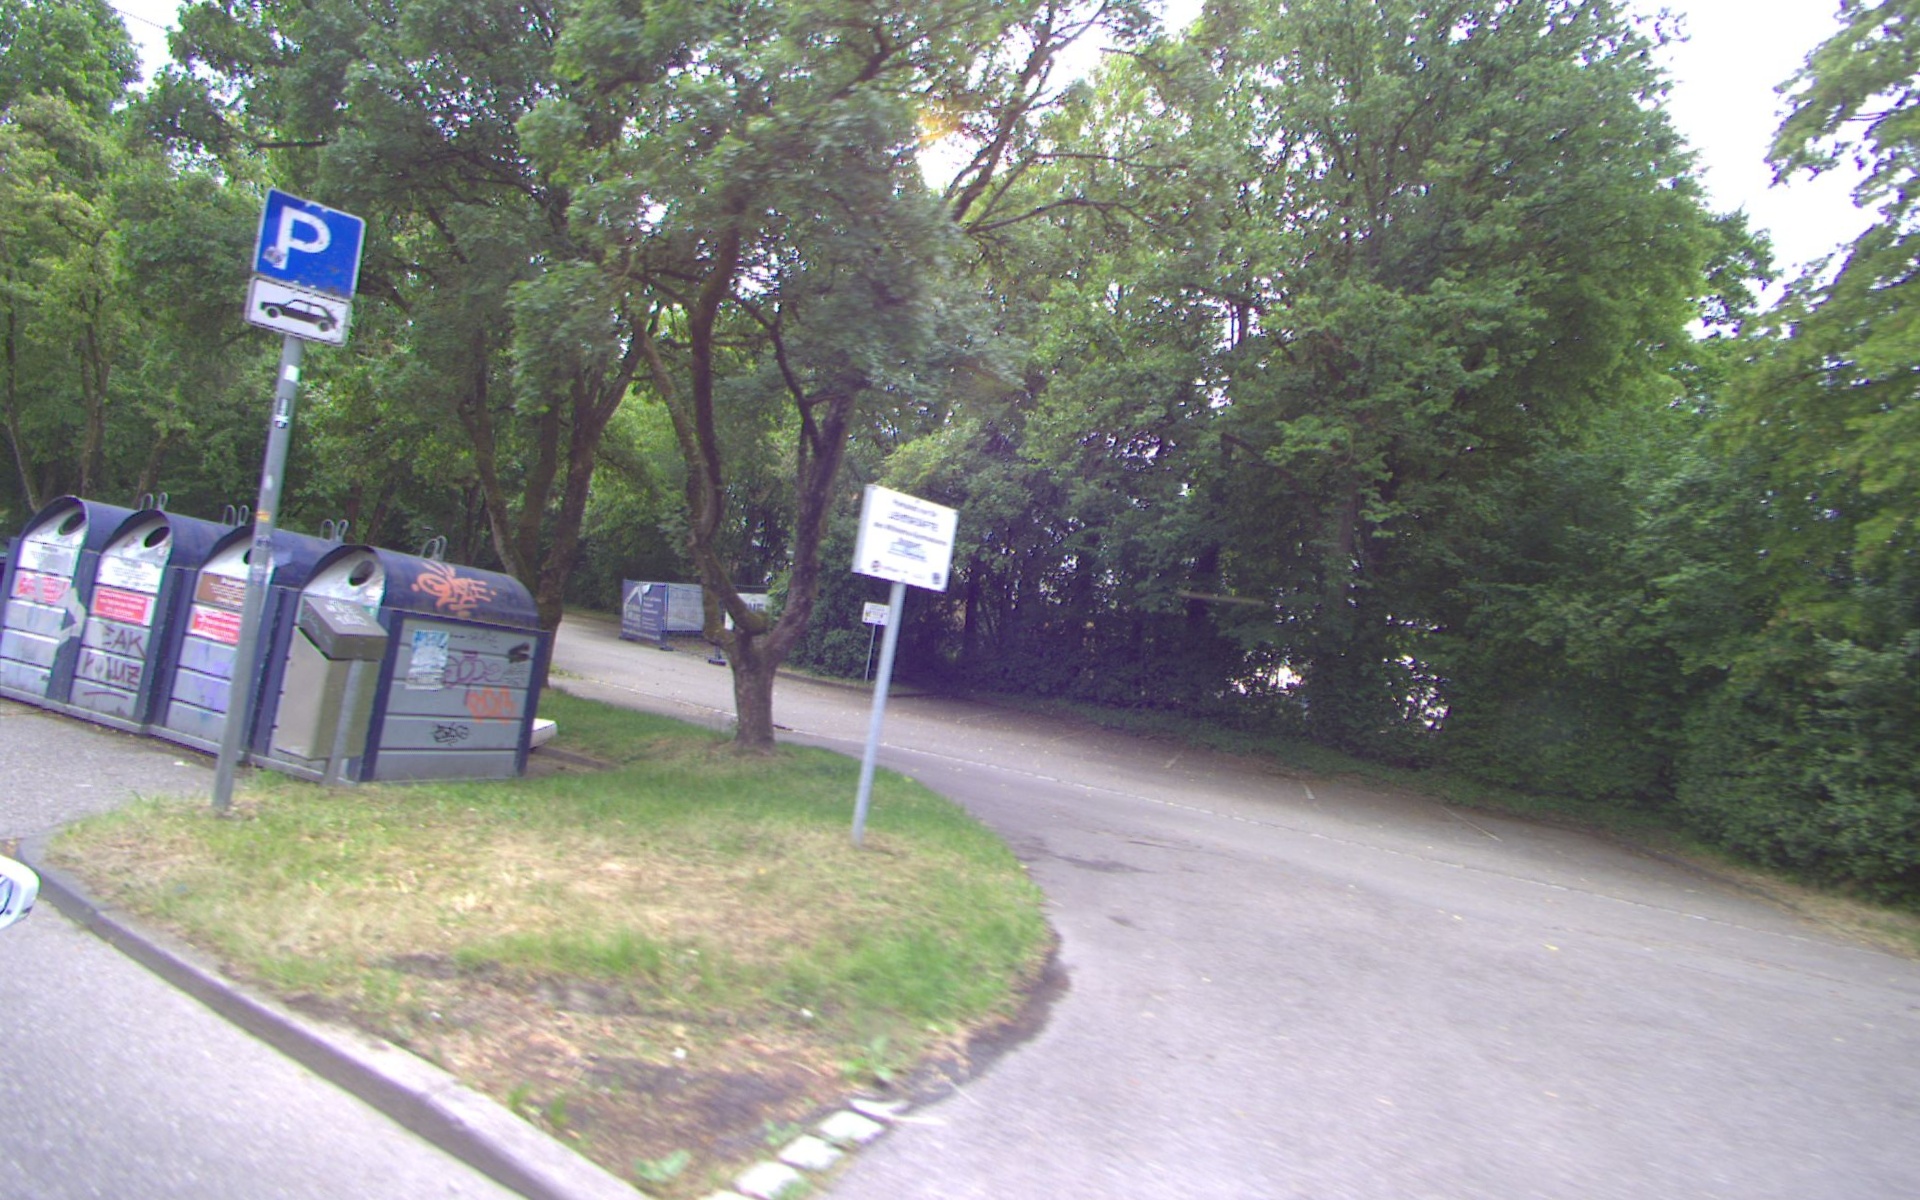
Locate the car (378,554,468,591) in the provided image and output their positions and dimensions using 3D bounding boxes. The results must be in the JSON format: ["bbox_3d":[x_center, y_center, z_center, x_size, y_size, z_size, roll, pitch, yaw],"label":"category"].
[{"bbox_3d":[-30.261,-1.526,56.800,1.771,1.425,3.995,7,-3,33],"label":"car"}]

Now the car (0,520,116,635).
[{"bbox_3d":[-13.975,-0.550,13.164,2.018,1.428,4.012,8,-5,8],"label":"car"}]
